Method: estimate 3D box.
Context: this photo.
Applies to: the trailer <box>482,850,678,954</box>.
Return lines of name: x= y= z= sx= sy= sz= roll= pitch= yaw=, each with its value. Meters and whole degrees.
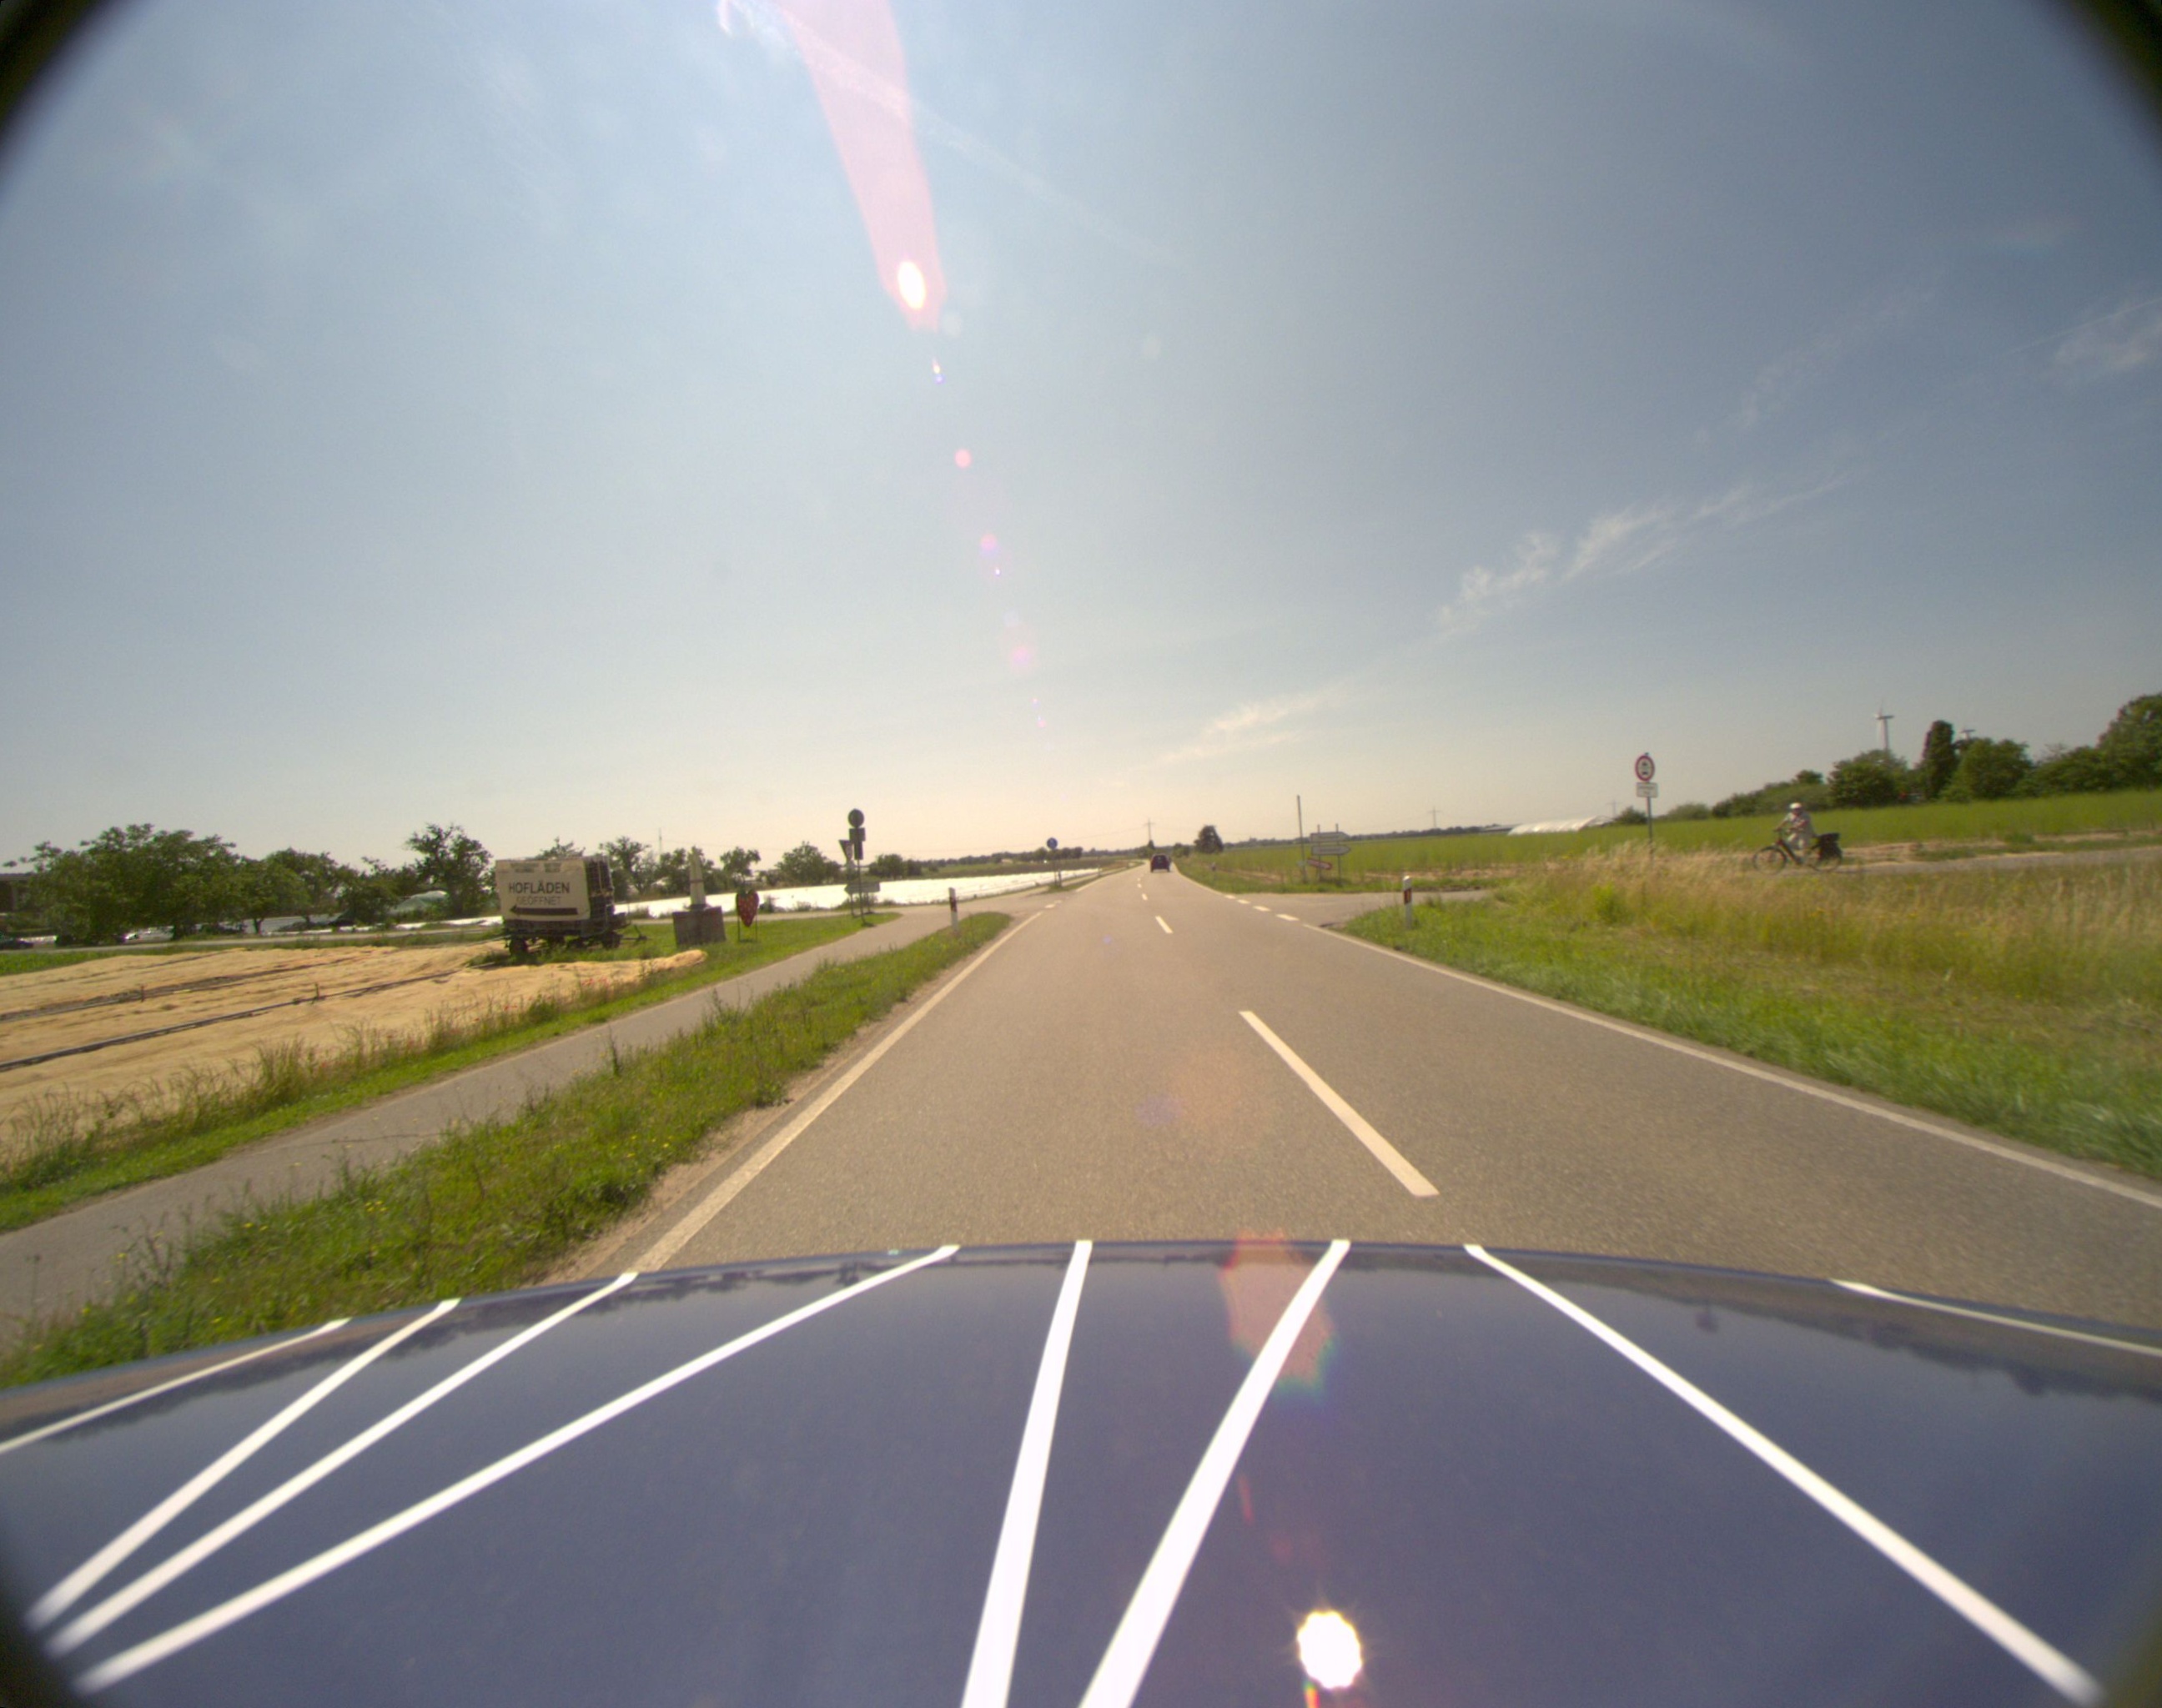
trailer: x=-15.841 y=1.513 z=24.086 sx=5.286 sy=2.936 sz=2.001 roll=-3 pitch=2 yaw=16

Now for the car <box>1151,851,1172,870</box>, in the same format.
car: x=7.993 y=0.599 z=75.027 sx=1.937 sy=1.741 sz=5.206 roll=-2 pitch=0 yaw=6

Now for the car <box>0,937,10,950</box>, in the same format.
car: x=-101.815 y=8.459 z=70.006 sx=1.294 sy=1.191 sz=3.282 roll=-4 pitch=0 yaw=12

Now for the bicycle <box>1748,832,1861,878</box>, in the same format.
bicycle: x=18.058 y=0.023 z=19.010 sx=1.921 sy=0.986 sz=0.683 roll=-4 pitch=1 yaw=14

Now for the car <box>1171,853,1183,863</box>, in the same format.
car: x=15.213 y=0.628 z=120.306 sx=1.745 sy=1.349 sz=4.420 roll=-3 pitch=0 yaw=6

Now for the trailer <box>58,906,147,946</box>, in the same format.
trailer: x=-96.763 y=7.096 z=75.160 sx=7.425 sy=3.274 sz=3.263 roll=-4 pitch=1 yaw=21

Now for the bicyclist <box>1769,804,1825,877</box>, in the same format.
bicyclist: x=17.920 y=-0.345 z=19.024 sx=0.700 sy=1.747 sz=0.663 roll=-4 pitch=1 yaw=14

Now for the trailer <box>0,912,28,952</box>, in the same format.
trailer: x=-123.026 y=8.977 z=84.743 sx=7.431 sy=4.197 sz=3.159 roll=-4 pitch=1 yaw=8

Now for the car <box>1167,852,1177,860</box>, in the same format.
car: x=17.696 y=0.354 z=147.540 sx=1.743 sy=1.523 sz=4.143 roll=-3 pitch=0 yaw=6

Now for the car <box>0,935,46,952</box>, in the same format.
car: x=-98.297 y=8.268 z=69.945 sx=1.294 sy=1.191 sz=3.282 roll=-4 pitch=0 yaw=12
